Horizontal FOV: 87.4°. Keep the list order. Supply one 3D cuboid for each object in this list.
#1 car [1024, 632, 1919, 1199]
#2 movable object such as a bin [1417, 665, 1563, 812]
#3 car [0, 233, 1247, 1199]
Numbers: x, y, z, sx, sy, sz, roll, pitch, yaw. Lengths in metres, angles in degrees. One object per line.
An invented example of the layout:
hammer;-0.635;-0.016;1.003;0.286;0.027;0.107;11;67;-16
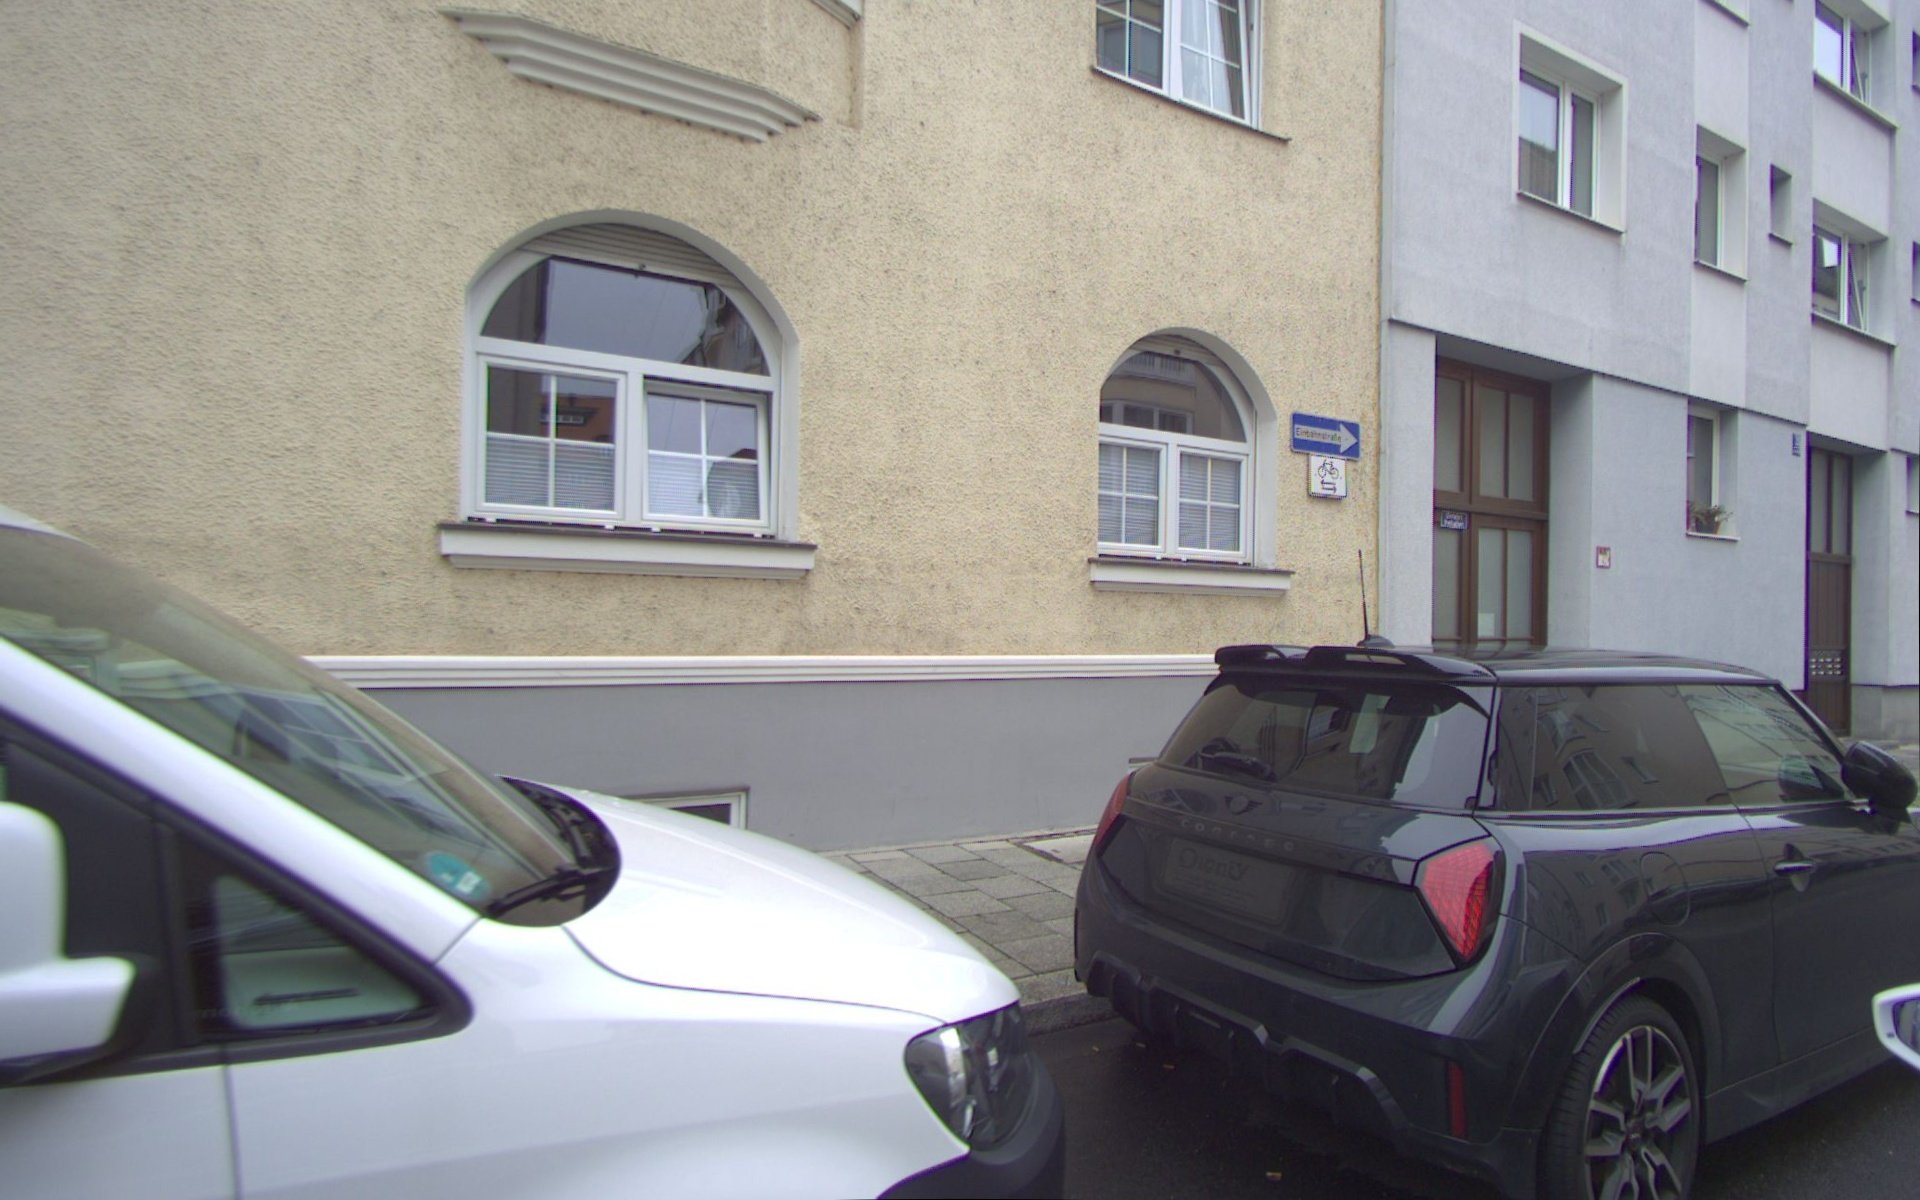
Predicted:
car;2.218;0.898;3.607;3.692;1.429;1.644;3;-4;-30
movable object such as a bin;4.381;1.115;8.334;0.615;1.065;0.803;2;3;-30
car;-1.801;0.593;1.289;4.197;1.812;1.717;3;-4;-28
